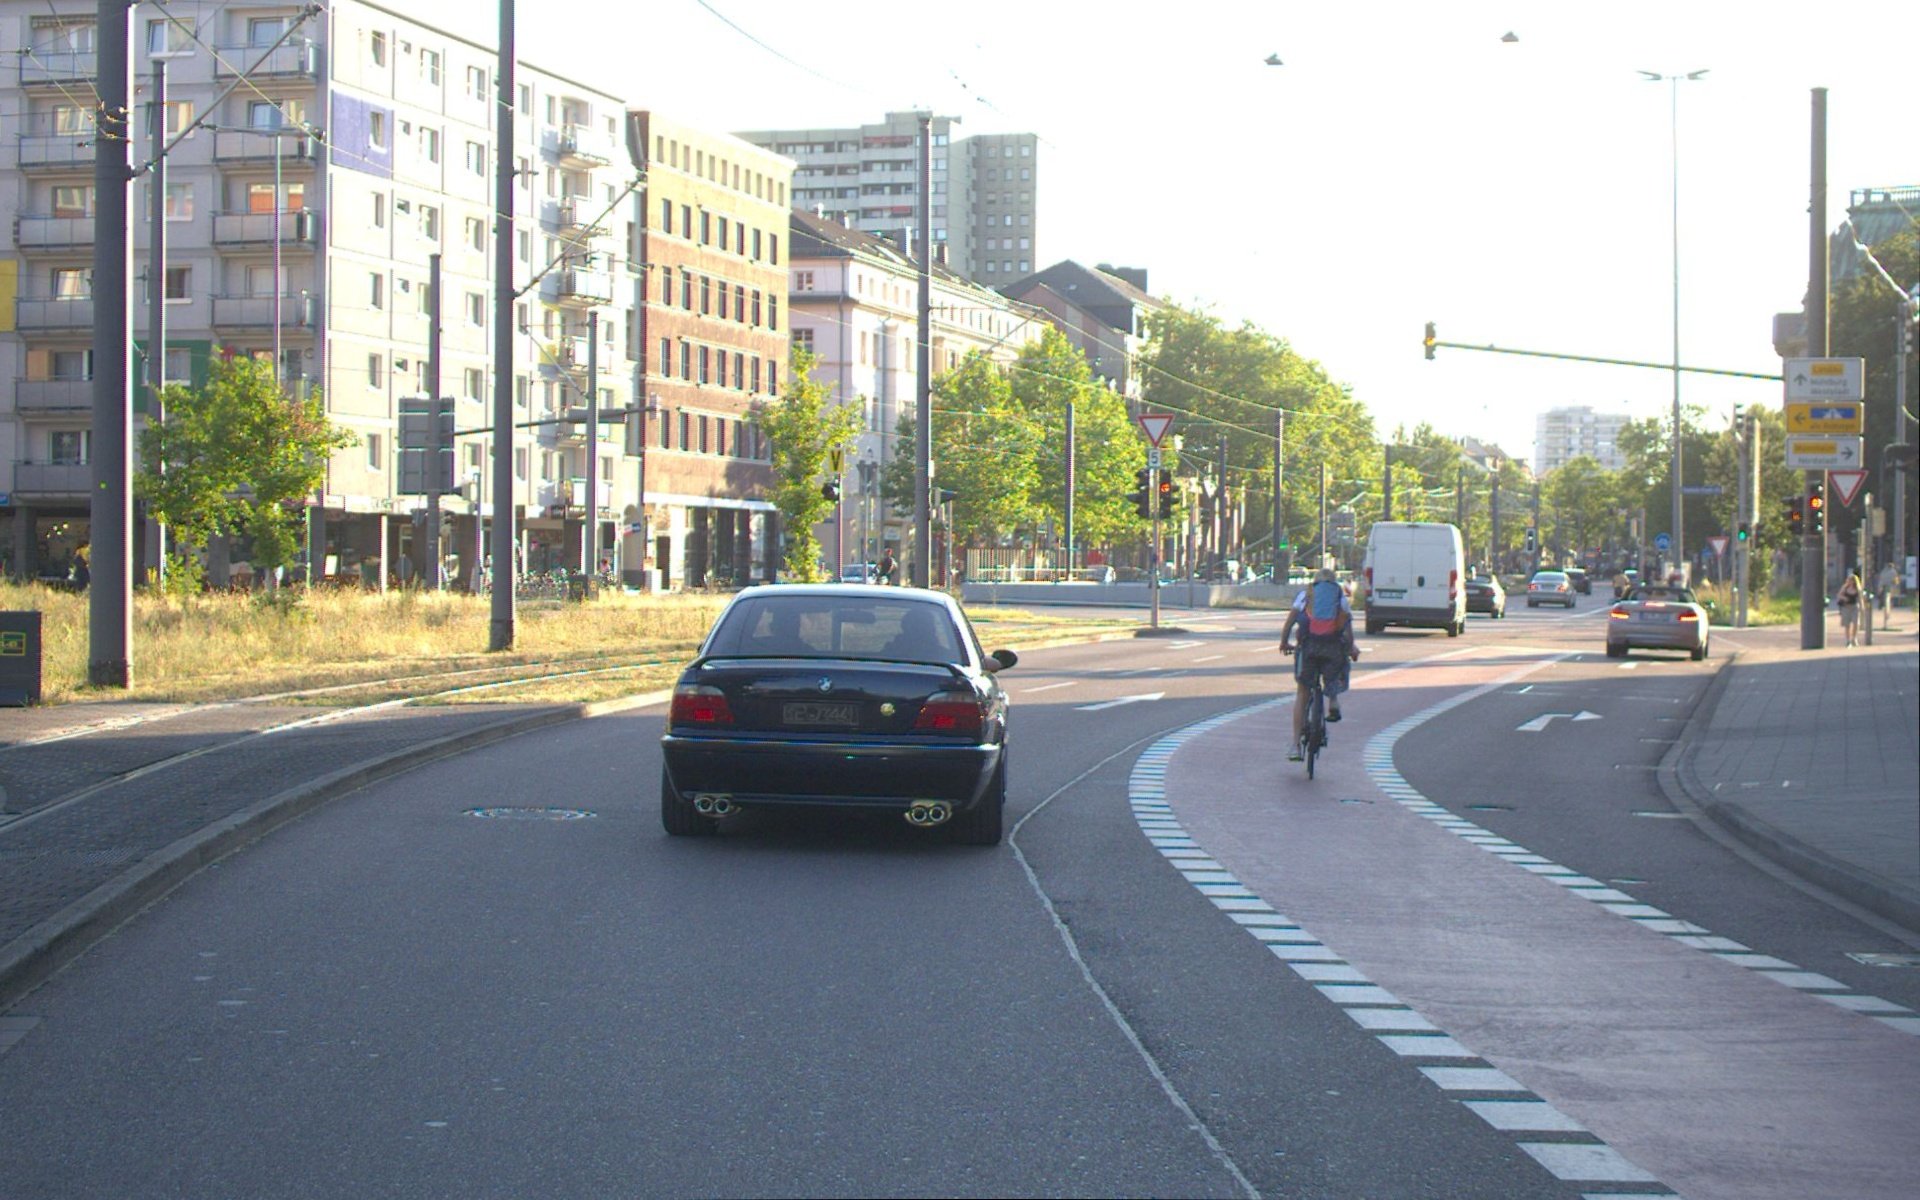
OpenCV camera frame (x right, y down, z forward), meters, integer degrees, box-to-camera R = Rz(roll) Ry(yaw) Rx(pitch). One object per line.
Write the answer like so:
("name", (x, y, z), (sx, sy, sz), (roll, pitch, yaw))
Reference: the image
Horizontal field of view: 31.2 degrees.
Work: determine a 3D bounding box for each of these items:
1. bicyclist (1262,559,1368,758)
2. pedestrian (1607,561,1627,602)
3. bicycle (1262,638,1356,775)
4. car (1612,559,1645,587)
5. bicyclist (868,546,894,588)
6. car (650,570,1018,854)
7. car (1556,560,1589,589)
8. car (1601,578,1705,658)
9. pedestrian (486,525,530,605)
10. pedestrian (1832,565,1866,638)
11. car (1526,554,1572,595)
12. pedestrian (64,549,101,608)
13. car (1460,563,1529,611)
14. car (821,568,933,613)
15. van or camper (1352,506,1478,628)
("bicyclist", (2.741, 0.438, 26.487), (0.655, 1.478, 1.037), (3, 1, 11))
("pedestrian", (23.924, -0.668, 125.184), (0.617, 1.470, 0.799), (1, 2, 18))
("bicycle", (2.709, 0.803, 26.568), (0.515, 0.951, 1.775), (2, 2, 11))
("car", (38.679, -1.576, 199.027), (1.795, 1.560, 3.999), (0, 2, 10))
("bicyclist", (-2.822, -1.181, 122.595), (0.853, 1.437, 0.663), (2, 2, -1))
("car", (-0.616, 0.549, 19.830), (1.830, 1.349, 4.641), (2, 1, 1))
("car", (34.648, -1.438, 194.394), (1.795, 1.560, 3.999), (0, 2, 10))
("car", (13.139, 0.319, 65.036), (1.784, 1.349, 4.264), (2, 2, 13))
("pedestrian", (-10.002, -0.773, 76.102), (0.721, 1.756, 0.649), (1, 2, 35))
("pedestrian", (19.590, 0.029, 75.789), (0.677, 1.564, 0.800), (0, 2, 12))
("car", (23.812, -1.061, 139.072), (1.795, 1.560, 3.999), (0, 2, 10))
("pedestrian", (-25.060, -0.607, 98.225), (0.739, 1.664, 0.782), (1, 2, 14))
("car", (16.650, -0.417, 107.031), (1.738, 1.381, 3.998), (1, 2, 14))
("car", (-2.989, -0.345, 124.340), (3.987, 1.429, 1.718), (2, 2, 0))
("van or camper", (10.171, -0.776, 76.613), (2.264, 2.616, 4.500), (1, 2, 14))
